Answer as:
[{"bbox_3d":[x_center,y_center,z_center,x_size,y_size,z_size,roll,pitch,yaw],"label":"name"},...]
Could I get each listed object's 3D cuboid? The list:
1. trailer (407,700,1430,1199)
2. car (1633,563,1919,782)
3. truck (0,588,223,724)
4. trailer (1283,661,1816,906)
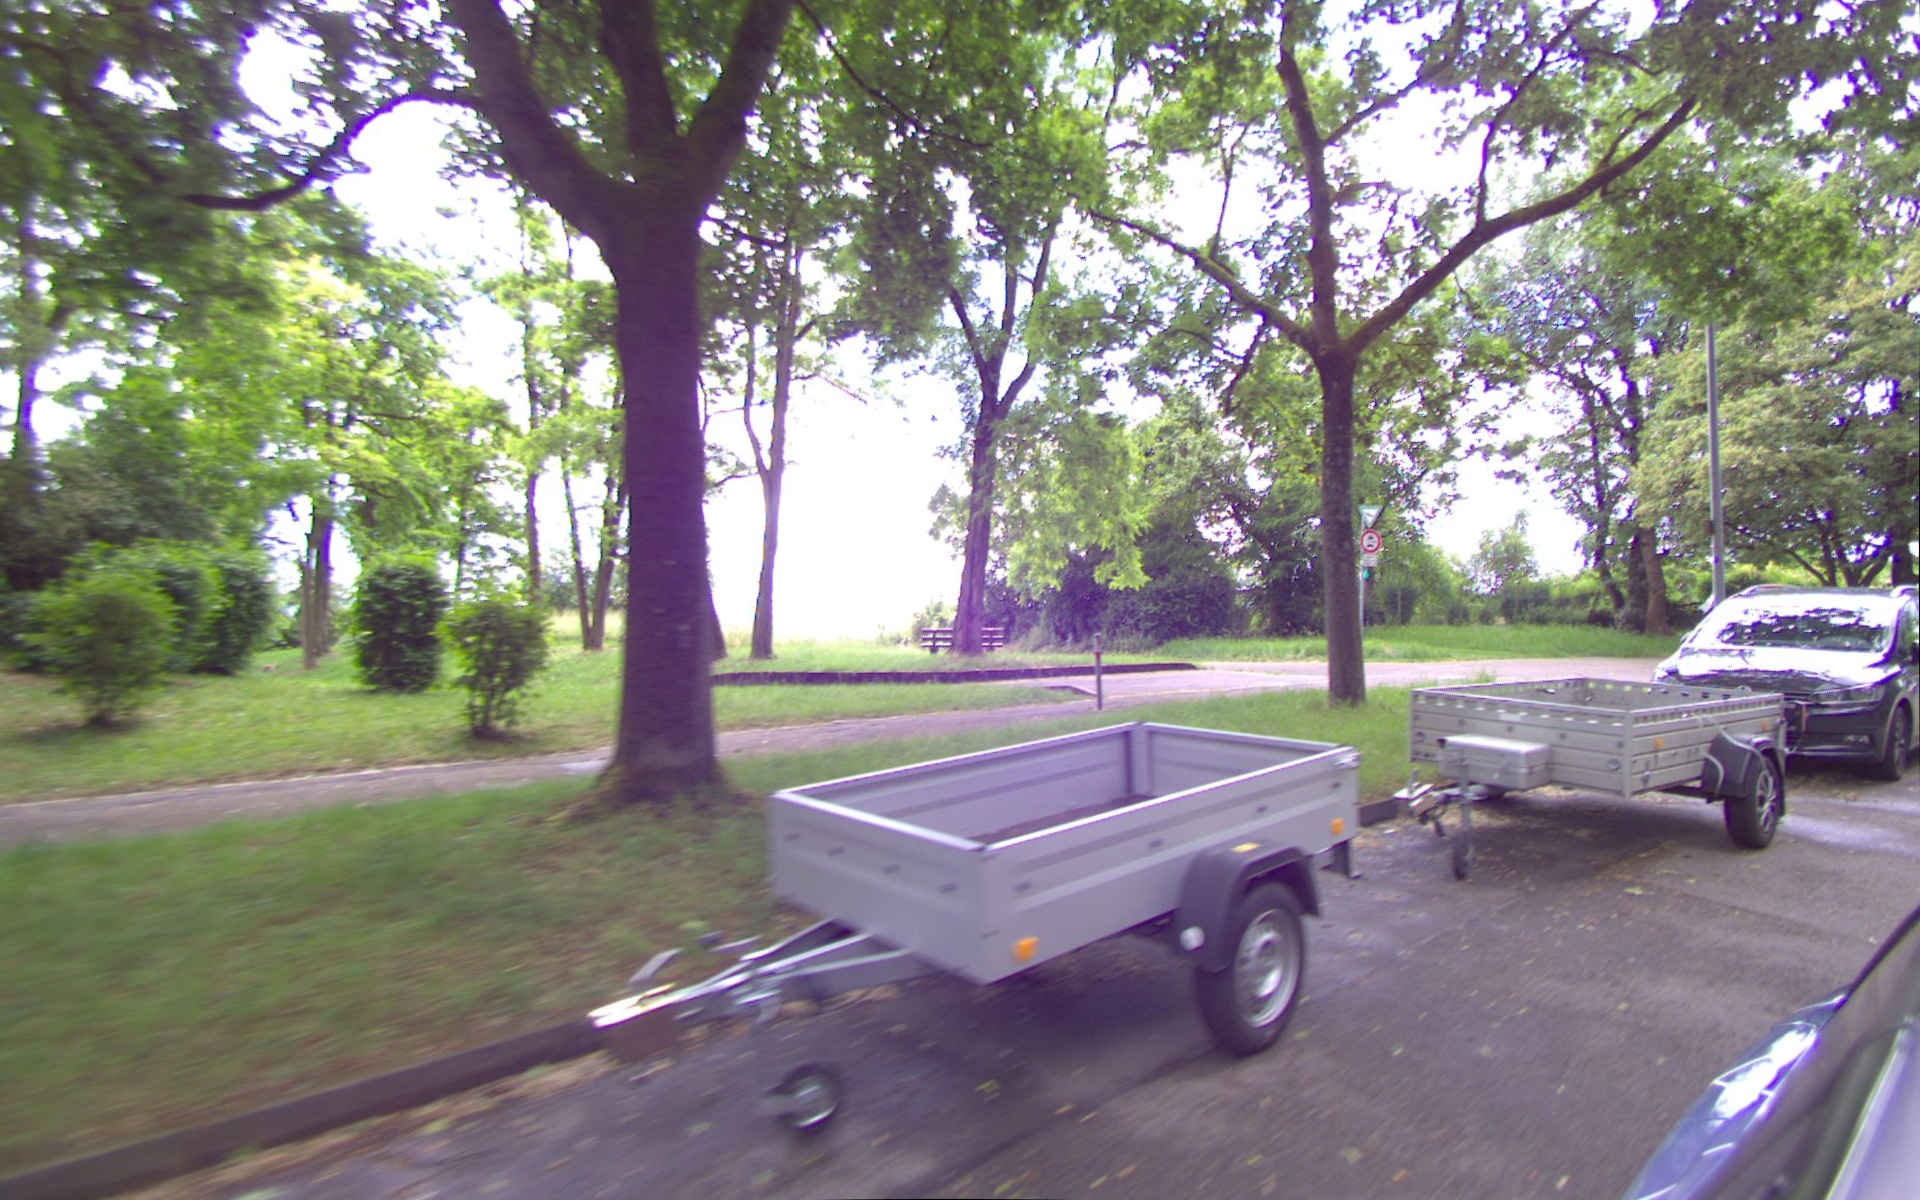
[{"bbox_3d":[0.119,0.943,3.354,3.221,0.858,1.366,-2,0,-40],"label":"trailer"},{"bbox_3d":[8.583,0.549,9.908,4.750,1.684,1.780,-1,-1,-36],"label":"car"},{"bbox_3d":[-28.484,1.793,33.635,9.484,4.048,2.671,-2,-1,29],"label":"truck"},{"bbox_3d":[3.802,0.940,6.295,3.818,0.981,1.361,1,-2,-35],"label":"trailer"}]
